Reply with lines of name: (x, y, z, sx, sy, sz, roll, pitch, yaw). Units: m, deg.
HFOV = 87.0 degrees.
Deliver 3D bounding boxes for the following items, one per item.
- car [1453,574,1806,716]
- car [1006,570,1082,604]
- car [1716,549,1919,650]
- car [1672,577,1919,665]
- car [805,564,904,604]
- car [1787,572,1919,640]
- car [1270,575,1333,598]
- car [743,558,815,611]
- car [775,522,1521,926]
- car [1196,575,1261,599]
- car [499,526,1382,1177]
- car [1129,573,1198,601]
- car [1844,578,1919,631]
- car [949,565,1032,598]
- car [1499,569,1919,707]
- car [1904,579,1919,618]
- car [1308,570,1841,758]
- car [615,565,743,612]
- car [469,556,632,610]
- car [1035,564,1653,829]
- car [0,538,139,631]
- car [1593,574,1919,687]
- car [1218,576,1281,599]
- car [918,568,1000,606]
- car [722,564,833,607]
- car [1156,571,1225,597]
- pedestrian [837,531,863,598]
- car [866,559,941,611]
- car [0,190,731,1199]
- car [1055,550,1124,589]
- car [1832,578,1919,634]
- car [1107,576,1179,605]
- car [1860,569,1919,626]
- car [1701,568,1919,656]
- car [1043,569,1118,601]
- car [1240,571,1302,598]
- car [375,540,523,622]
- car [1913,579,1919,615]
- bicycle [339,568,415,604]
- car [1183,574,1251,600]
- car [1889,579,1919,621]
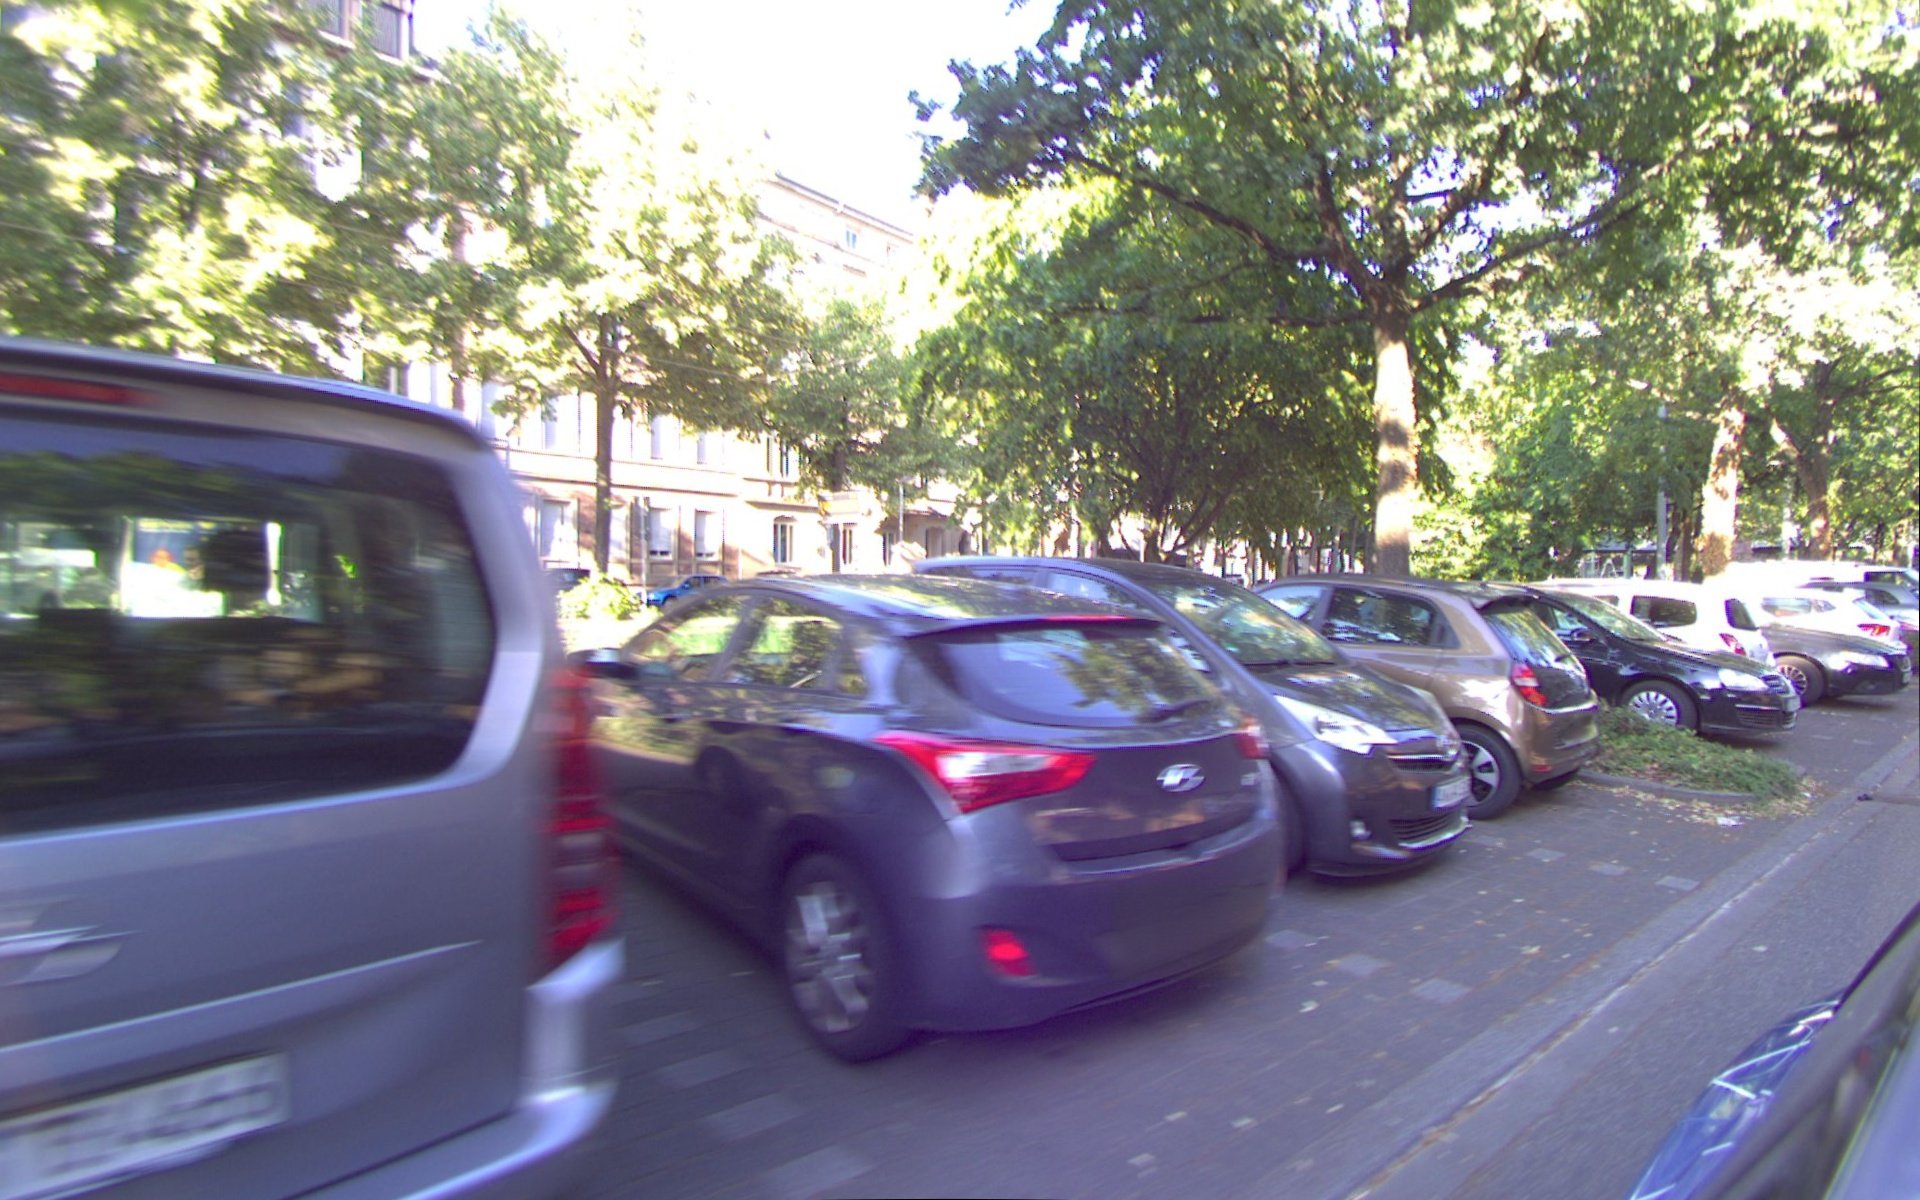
car: (8.443, 0.458, 12.984, 1.687, 1.533, 3.408, 0, 2, -38)
car: (3.503, -0.575, 43.072, 1.711, 1.294, 4.010, 0, 2, -19)
car: (19.984, -0.057, 22.379, 2.117, 2.063, 4.856, 0, 2, -39)
car: (16.220, 0.329, 19.312, 1.654, 1.440, 3.996, 0, 3, -39)
car: (-4.537, -0.718, 44.100, 1.989, 1.587, 4.186, 3, 2, 37)
car: (23.304, 0.147, 25.164, 1.654, 1.573, 3.996, 0, 2, -39)
car: (21.907, -0.881, 65.003, 1.711, 1.294, 4.010, 0, 2, -19)
car: (-5.670, -0.533, 31.396, 1.771, 1.505, 4.292, 1, 2, -16)
car: (0.886, 0.441, 6.524, 4.437, 1.712, 1.919, 2, 3, 45)
car: (15.737, -0.772, 59.538, 1.711, 1.294, 4.010, 0, 2, -19)
car: (-0.621, 0.526, 4.859, 1.915, 1.591, 4.551, -2, 3, -38)
car: (10.584, -0.700, 52.995, 1.711, 1.294, 4.010, 0, 2, -19)
car: (29.190, 0.162, 30.210, 1.654, 1.507, 3.996, 0, 3, -39)
car: (1.615, -0.980, 52.095, 1.990, 1.587, 4.550, 3, 2, 38)
car: (10.537, 0.369, 14.382, 1.964, 1.591, 4.714, -2, 3, -38)
car: (38.697, 0.007, 38.392, 1.654, 1.507, 3.996, 0, 3, -39)
car: (6.528, 0.488, 11.305, 1.964, 1.591, 4.714, -2, 3, -38)
car: (-10.207, -0.453, 36.992, 1.989, 1.587, 4.186, 3, 2, 37)
car: (-13.244, -0.576, 32.922, 1.992, 1.587, 4.526, 3, 3, 41)
car: (2.860, 0.501, 8.520, 1.915, 1.591, 4.551, -2, 3, -38)
car: (-16.972, -0.345, 18.263, 1.889, 1.505, 4.564, 0, 2, -19)
car: (12.557, 0.370, 15.982, 1.654, 1.478, 3.996, 0, 3, -39)
car: (17.775, -0.792, 62.277, 1.711, 1.294, 4.010, 0, 2, -19)
car: (-0.107, -0.519, 38.103, 1.771, 1.294, 4.293, 0, 2, -18)
car: (-7.308, -0.621, 40.768, 1.989, 1.587, 4.186, 3, 2, 37)
car: (12.409, -0.896, 54.749, 1.711, 1.294, 4.010, 0, 2, -19)
pedestrian: (-5.002, -1.607, 46.019, 0.916, 2.984, 0.690, 1, 1, 38)
car: (-2.107, -0.591, 36.417, 1.771, 1.716, 4.292, 1, 2, -16)
car: (-2.570, 0.385, 3.116, 1.915, 1.938, 4.551, -2, 3, -38)
car: (7.734, -1.822, 59.993, 1.990, 2.199, 4.550, 2, 2, 38)
car: (27.210, 0.194, 28.323, 1.654, 1.507, 3.996, 0, 3, -39)
car: (9.019, -0.472, 50.180, 1.711, 1.294, 4.010, 0, 2, -19)
car: (32.494, -0.066, 33.341, 1.654, 1.855, 3.996, 0, 2, -39)
car: (17.922, 0.191, 20.853, 1.735, 1.599, 3.994, -1, 3, -42)
car: (5.293, -0.700, 45.103, 1.711, 1.294, 4.010, 0, 2, -19)
car: (21.717, -1.116, 70.782, 1.714, 1.788, 4.003, 0, 2, -33)
car: (-12.027, -0.494, 24.172, 1.889, 1.743, 4.562, 1, 2, -10)
car: (42.525, -0.057, 42.080, 1.654, 1.507, 3.996, 0, 3, -39)
bicycle: (-18.902, -0.451, 32.874, 2.053, 1.130, 0.684, 0, 1, -21)
car: (14.224, -0.747, 56.328, 1.711, 1.294, 4.010, 0, 2, -19)
car: (36.608, 0.040, 36.770, 1.654, 1.507, 3.996, 0, 3, -39)
